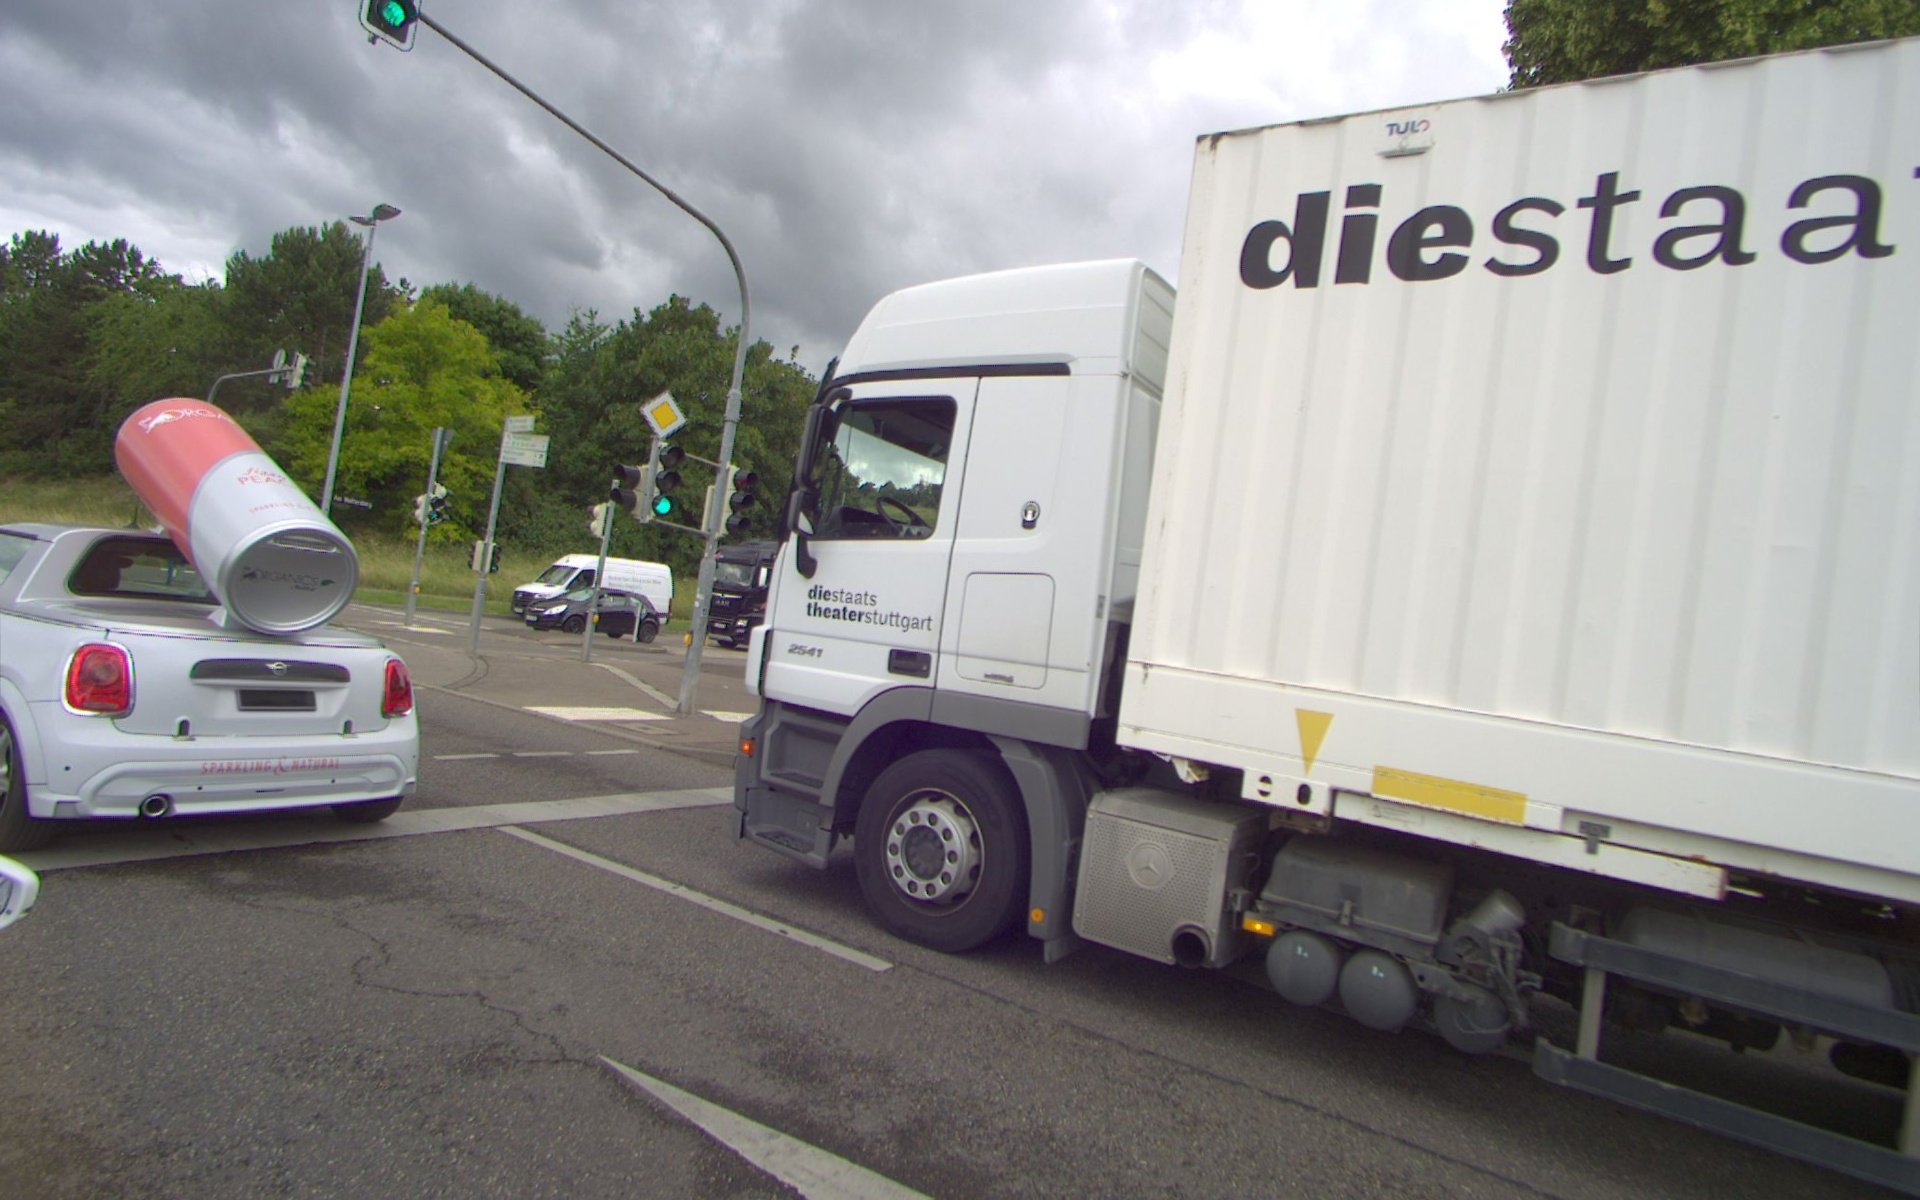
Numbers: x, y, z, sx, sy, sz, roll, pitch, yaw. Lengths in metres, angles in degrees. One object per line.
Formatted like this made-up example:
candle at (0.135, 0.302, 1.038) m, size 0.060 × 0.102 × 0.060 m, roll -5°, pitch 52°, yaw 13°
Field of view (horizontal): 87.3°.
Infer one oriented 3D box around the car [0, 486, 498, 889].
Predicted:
car at (-4.501, 0.265, 5.561) m, size 3.437 × 1.523 × 1.824 m, roll 7°, pitch -1°, yaw 32°

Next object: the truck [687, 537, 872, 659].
truck at (-6.183, 0.035, 35.311) m, size 2.648 × 3.527 × 6.004 m, roll 6°, pitch -1°, yaw 34°

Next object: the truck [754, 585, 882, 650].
truck at (-6.482, 0.867, 46.726) m, size 2.128 × 2.255 × 6.028 m, roll 6°, pitch -2°, yaw 35°

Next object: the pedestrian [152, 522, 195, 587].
pedestrian at (-21.811, -1.256, 27.902) m, size 0.703 × 1.681 × 0.644 m, roll 6°, pitch -1°, yaw 39°

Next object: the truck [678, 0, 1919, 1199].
truck at (3.653, 0.140, 4.036) m, size 10.013 × 3.949 × 2.808 m, roll 7°, pitch -1°, yaw 32°

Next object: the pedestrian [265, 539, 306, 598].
pedestrian at (-19.740, -0.924, 29.425) m, size 0.703 × 1.630 × 0.644 m, roll 6°, pitch -1°, yaw 37°

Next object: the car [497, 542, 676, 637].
car at (-13.395, -0.289, 36.543) m, size 1.968 × 2.660 × 5.814 m, roll 6°, pitch -2°, yaw 34°

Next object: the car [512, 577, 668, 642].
car at (-10.553, 0.311, 28.959) m, size 1.669 × 1.353 × 3.882 m, roll 6°, pitch -3°, yaw 34°

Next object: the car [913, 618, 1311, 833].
car at (1.513, 1.308, 11.516) m, size 1.752 × 1.673 × 4.325 m, roll 10°, pitch -3°, yaw -37°
